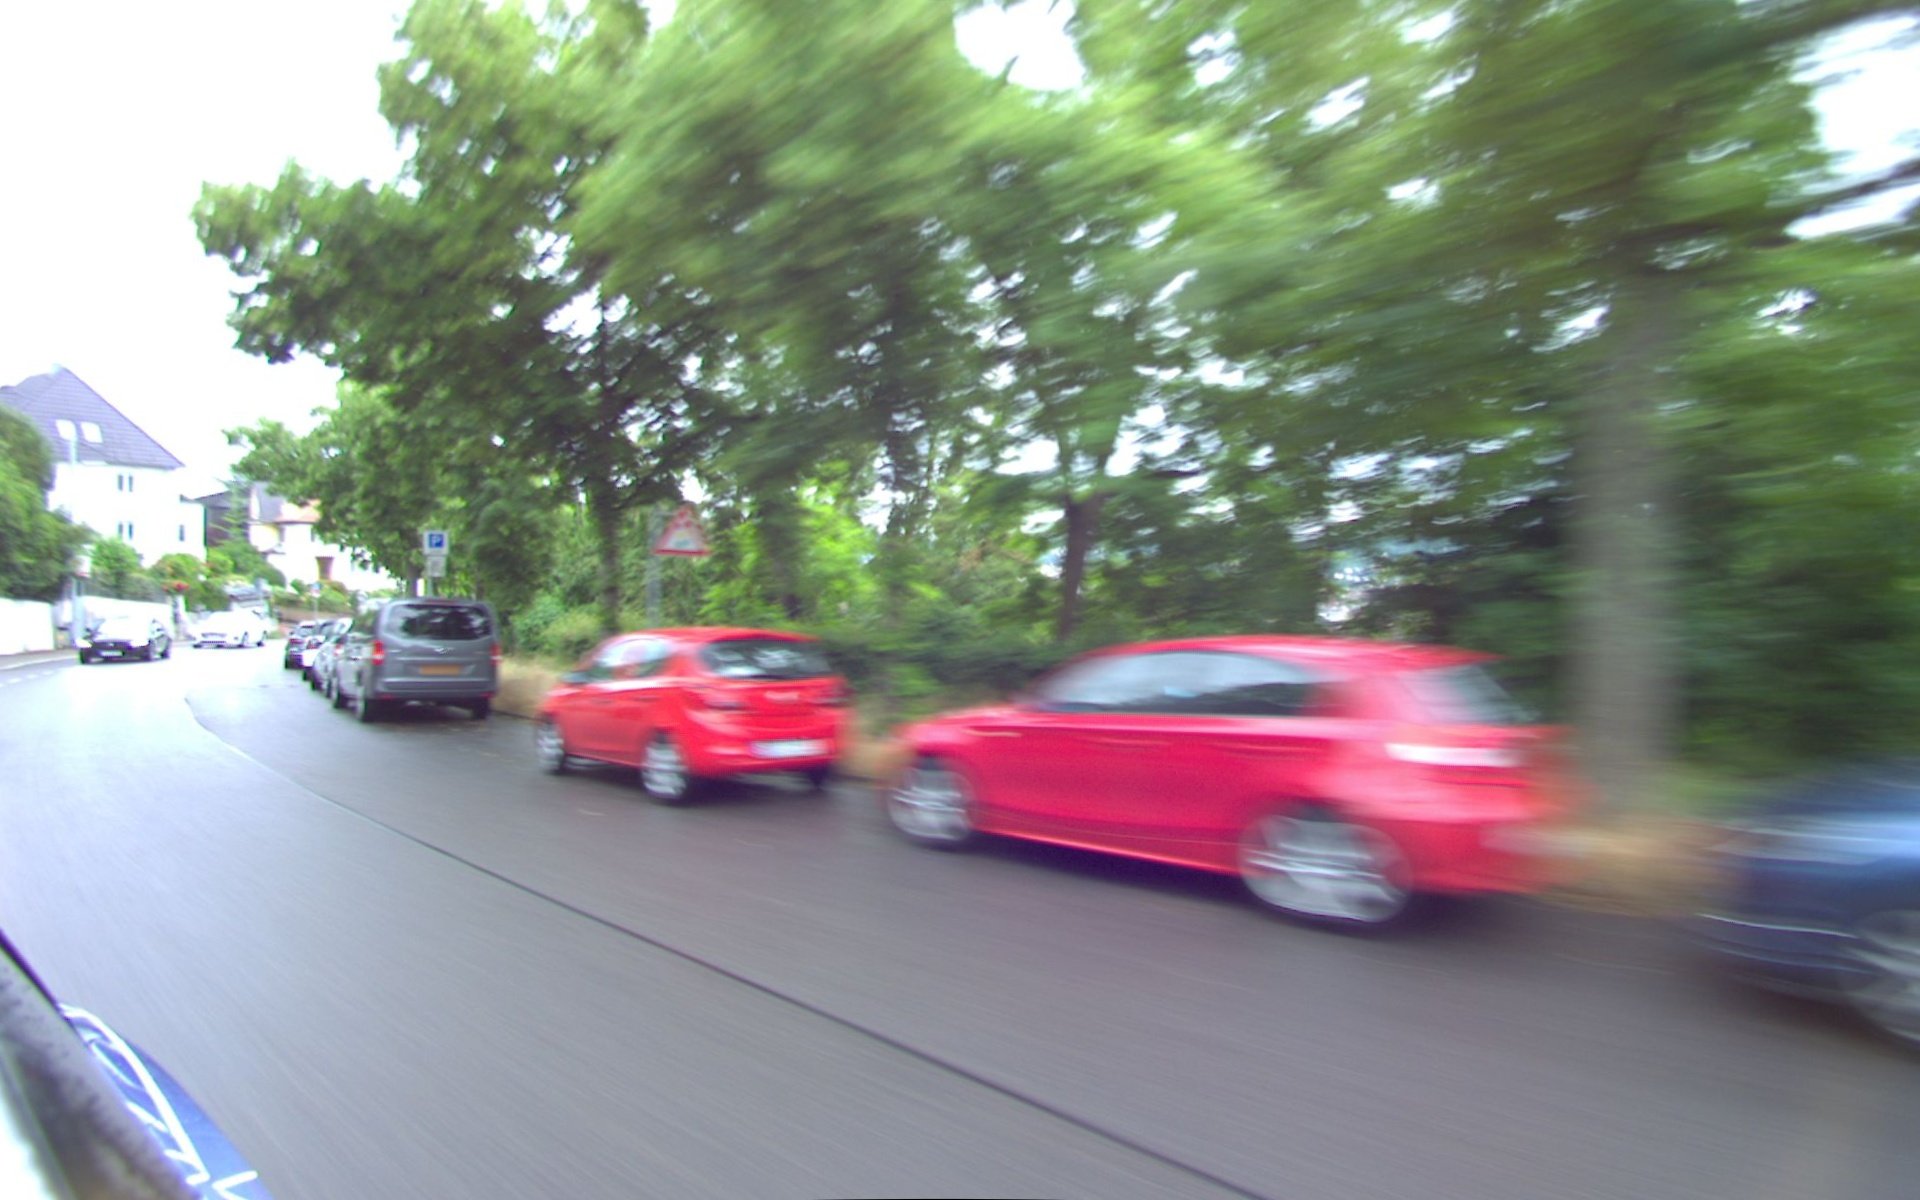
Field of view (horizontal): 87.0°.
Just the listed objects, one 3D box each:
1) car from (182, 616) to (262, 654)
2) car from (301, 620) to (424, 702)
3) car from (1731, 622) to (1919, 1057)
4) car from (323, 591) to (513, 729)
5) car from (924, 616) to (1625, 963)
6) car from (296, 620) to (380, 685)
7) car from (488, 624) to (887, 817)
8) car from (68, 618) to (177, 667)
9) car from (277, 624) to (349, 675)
[{"bbox_3d":[-33.584,1.561,46.196,1.997,1.641,4.242,0,-1,-22],"label":"car"},{"bbox_3d":[-12.846,1.288,21.660,1.662,1.564,3.774,5,-5,-38],"label":"car"},{"bbox_3d":[5.002,0.792,2.982,4.206,1.419,1.933,-2,-4,42],"label":"car"},{"bbox_3d":[-9.284,0.971,17.103,1.929,1.983,5.011,2,-3,-39],"label":"car"},{"bbox_3d":[1.715,0.864,6.097,3.544,1.419,1.932,-2,-4,43],"label":"car"},{"bbox_3d":[-16.570,1.356,26.887,1.661,1.521,4.217,4,-3,-34],"label":"car"},{"bbox_3d":[-2.916,1.028,10.095,1.931,1.472,4.580,4,-4,-42],"label":"car"},{"bbox_3d":[-27.323,1.346,33.159,1.997,1.474,4.012,0,-1,-29],"label":"car"},{"bbox_3d":[-19.911,1.496,31.263,1.660,1.391,4.514,4,-3,-31],"label":"car"}]
